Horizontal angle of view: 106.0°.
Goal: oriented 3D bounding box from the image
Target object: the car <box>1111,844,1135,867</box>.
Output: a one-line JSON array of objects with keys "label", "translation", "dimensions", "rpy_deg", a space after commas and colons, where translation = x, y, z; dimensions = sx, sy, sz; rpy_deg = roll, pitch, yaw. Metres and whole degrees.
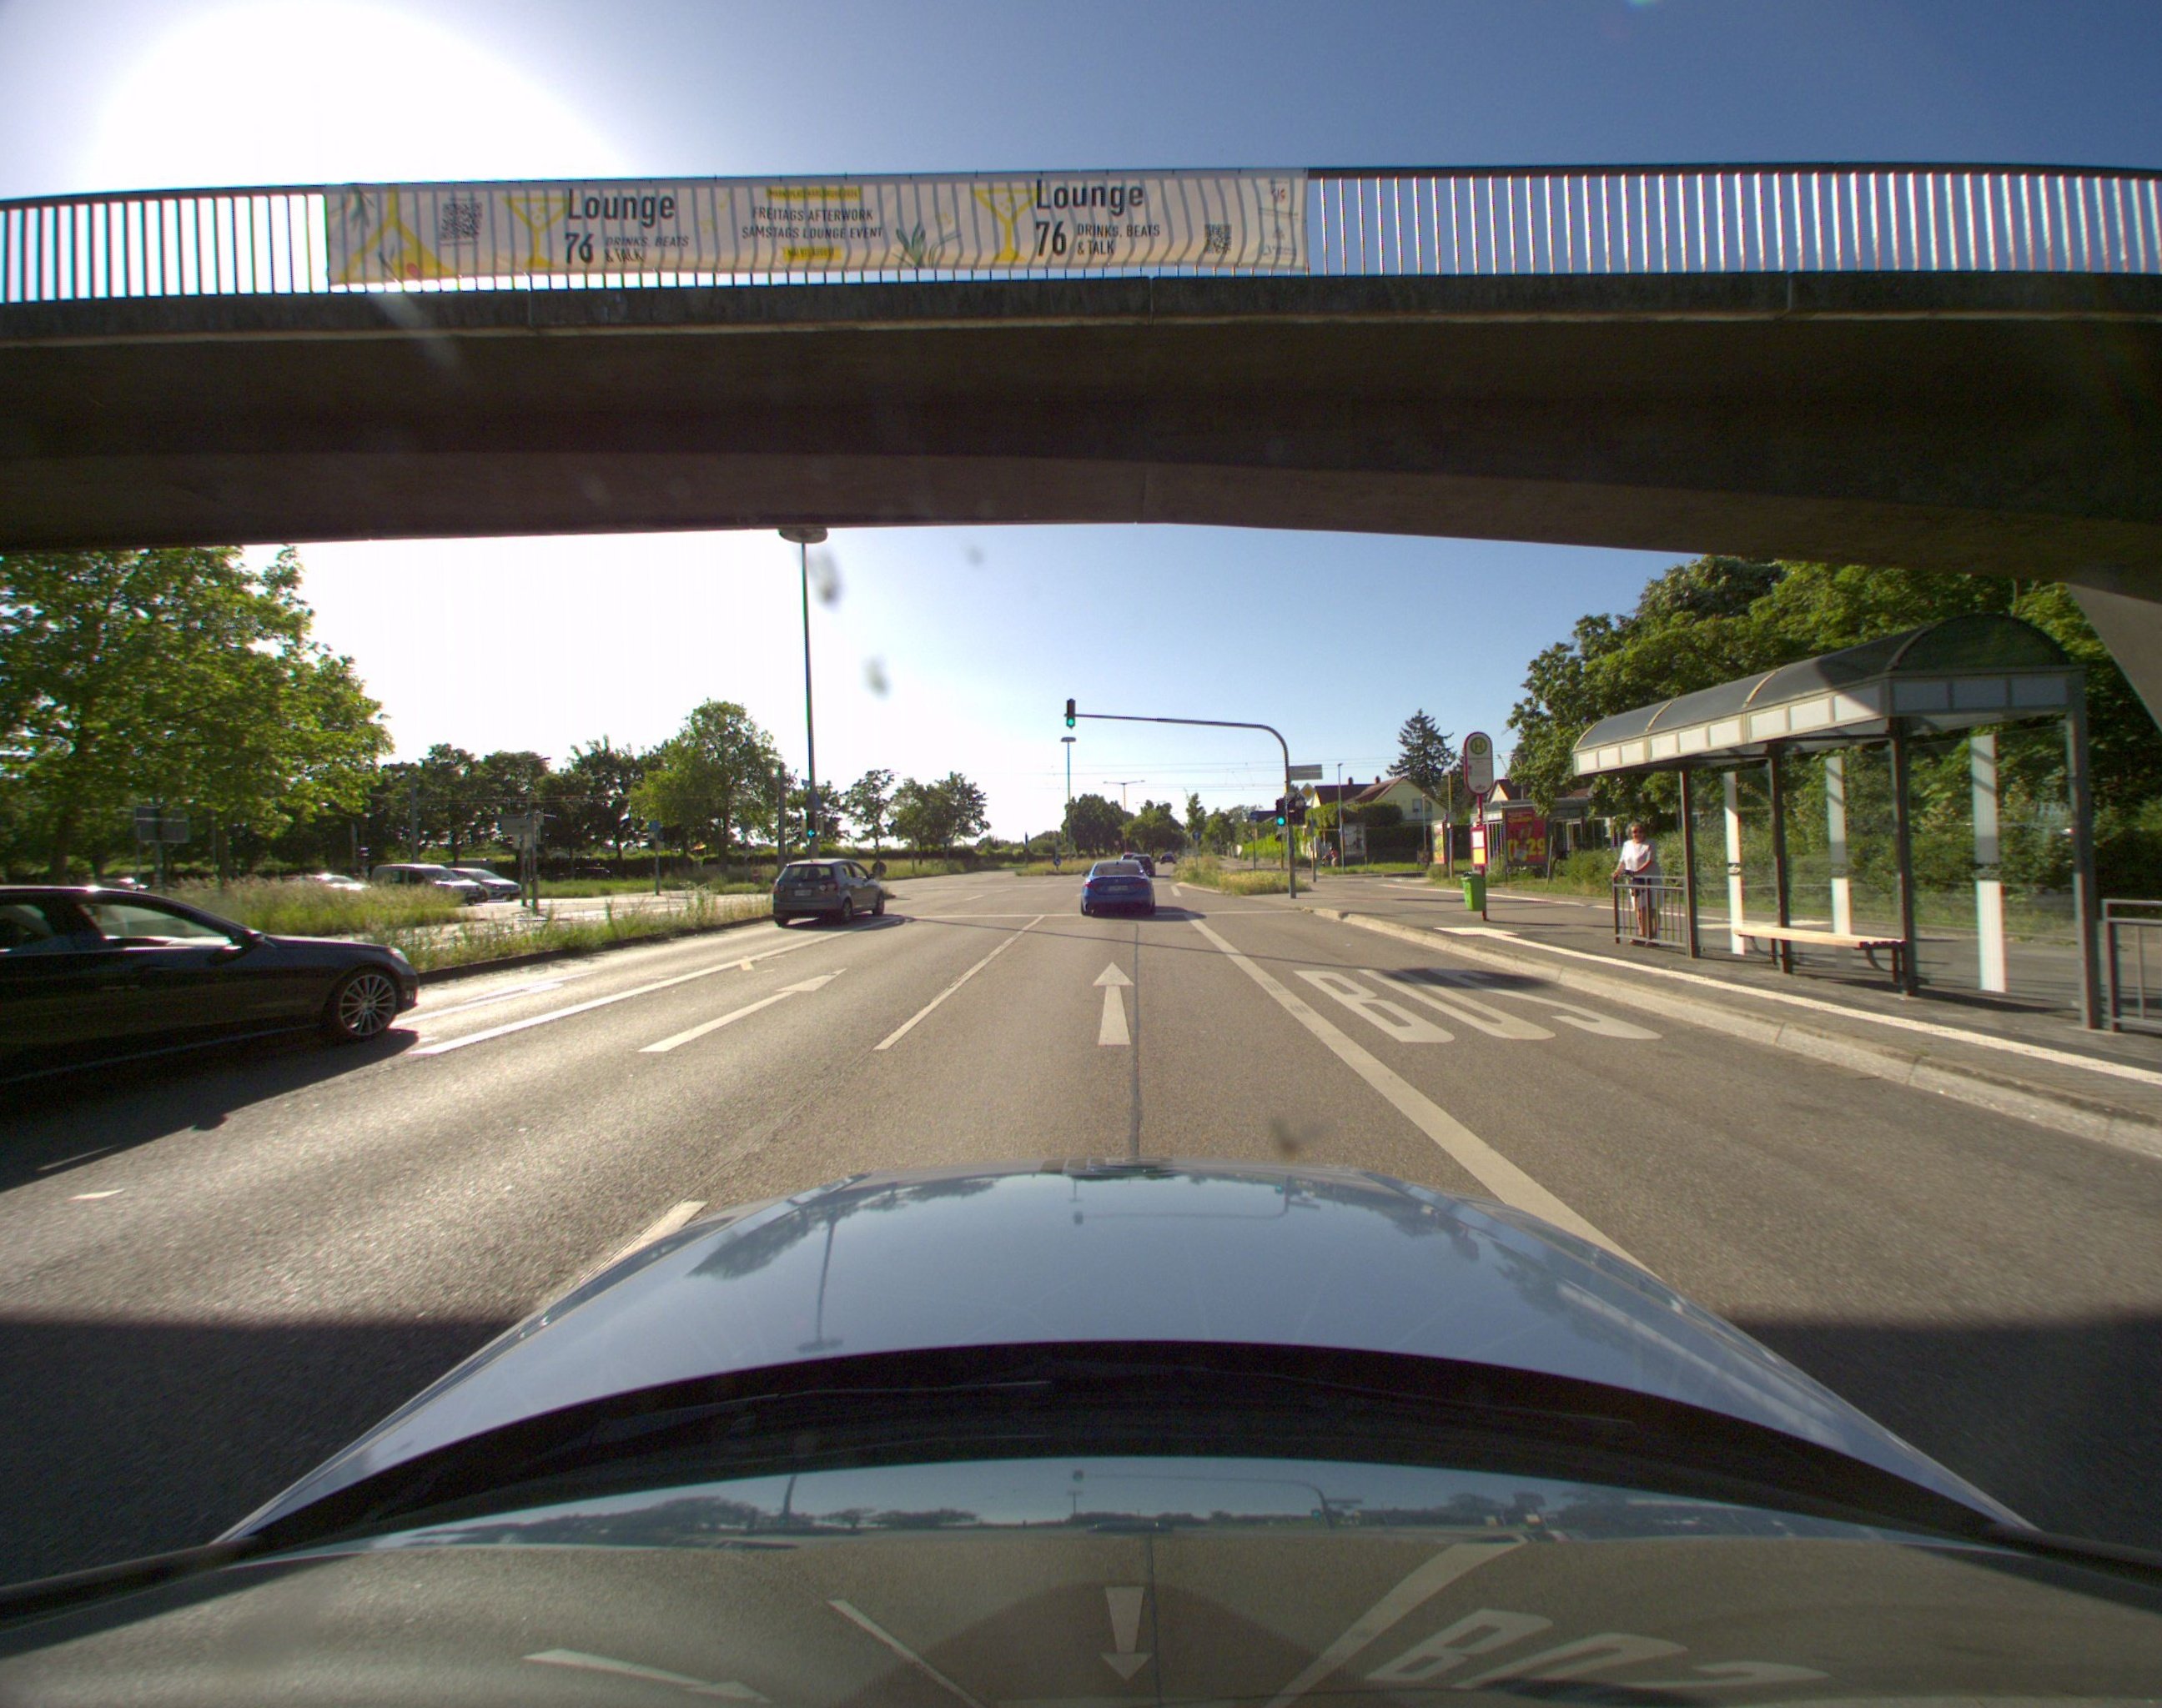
[{"label": "car", "translation": [4.001, 0.155, 76.373], "dimensions": [1.782, 2.014, 4.010], "rpy_deg": [-1, 0, 9]}]

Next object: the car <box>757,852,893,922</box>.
[{"label": "car", "translation": [-6.396, 0.800, 20.917], "dimensions": [1.833, 1.571, 4.391], "rpy_deg": [-1, -1, 4]}]

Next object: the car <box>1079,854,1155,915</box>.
[{"label": "car", "translation": [0.994, 0.747, 22.030], "dimensions": [1.831, 1.474, 4.187], "rpy_deg": [-1, 0, 3]}]

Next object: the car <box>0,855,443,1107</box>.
[{"label": "car", "translation": [-7.263, 0.765, 5.779], "dimensions": [1.767, 1.486, 4.532], "rpy_deg": [-1, 0, 2]}]

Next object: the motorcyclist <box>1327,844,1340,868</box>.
[{"label": "motorcyclist", "translation": [16.960, 0.144, 54.676], "dimensions": [0.689, 1.558, 0.701], "rpy_deg": [-3, 0, 8]}]

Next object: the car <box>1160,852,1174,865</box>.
[{"label": "car", "translation": [10.979, 0.550, 103.915], "dimensions": [1.651, 1.579, 3.818], "rpy_deg": [-1, 0, 9]}]

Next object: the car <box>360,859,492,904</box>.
[{"label": "car", "translation": [-27.043, 1.114, 33.710], "dimensions": [3.973, 1.754, 1.778], "rpy_deg": [-1, 0, 0]}]

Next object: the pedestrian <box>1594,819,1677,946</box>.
[{"label": "pedestrian", "translation": [7.587, 0.376, 11.163], "dimensions": [0.586, 1.662, 0.716], "rpy_deg": [-2, 0, 0]}]

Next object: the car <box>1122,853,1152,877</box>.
[{"label": "car", "translation": [3.899, 0.721, 55.996], "dimensions": [1.906, 1.579, 4.189], "rpy_deg": [-1, 0, 6]}]

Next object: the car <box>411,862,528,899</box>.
[{"label": "car", "translation": [-27.828, 1.195, 37.151], "dimensions": [3.899, 1.560, 1.853], "rpy_deg": [-1, 0, 1]}]

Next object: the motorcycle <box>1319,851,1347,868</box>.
[{"label": "motorcycle", "translation": [16.886, 0.389, 54.622], "dimensions": [1.746, 1.071, 0.452], "rpy_deg": [-3, 0, 8]}]
